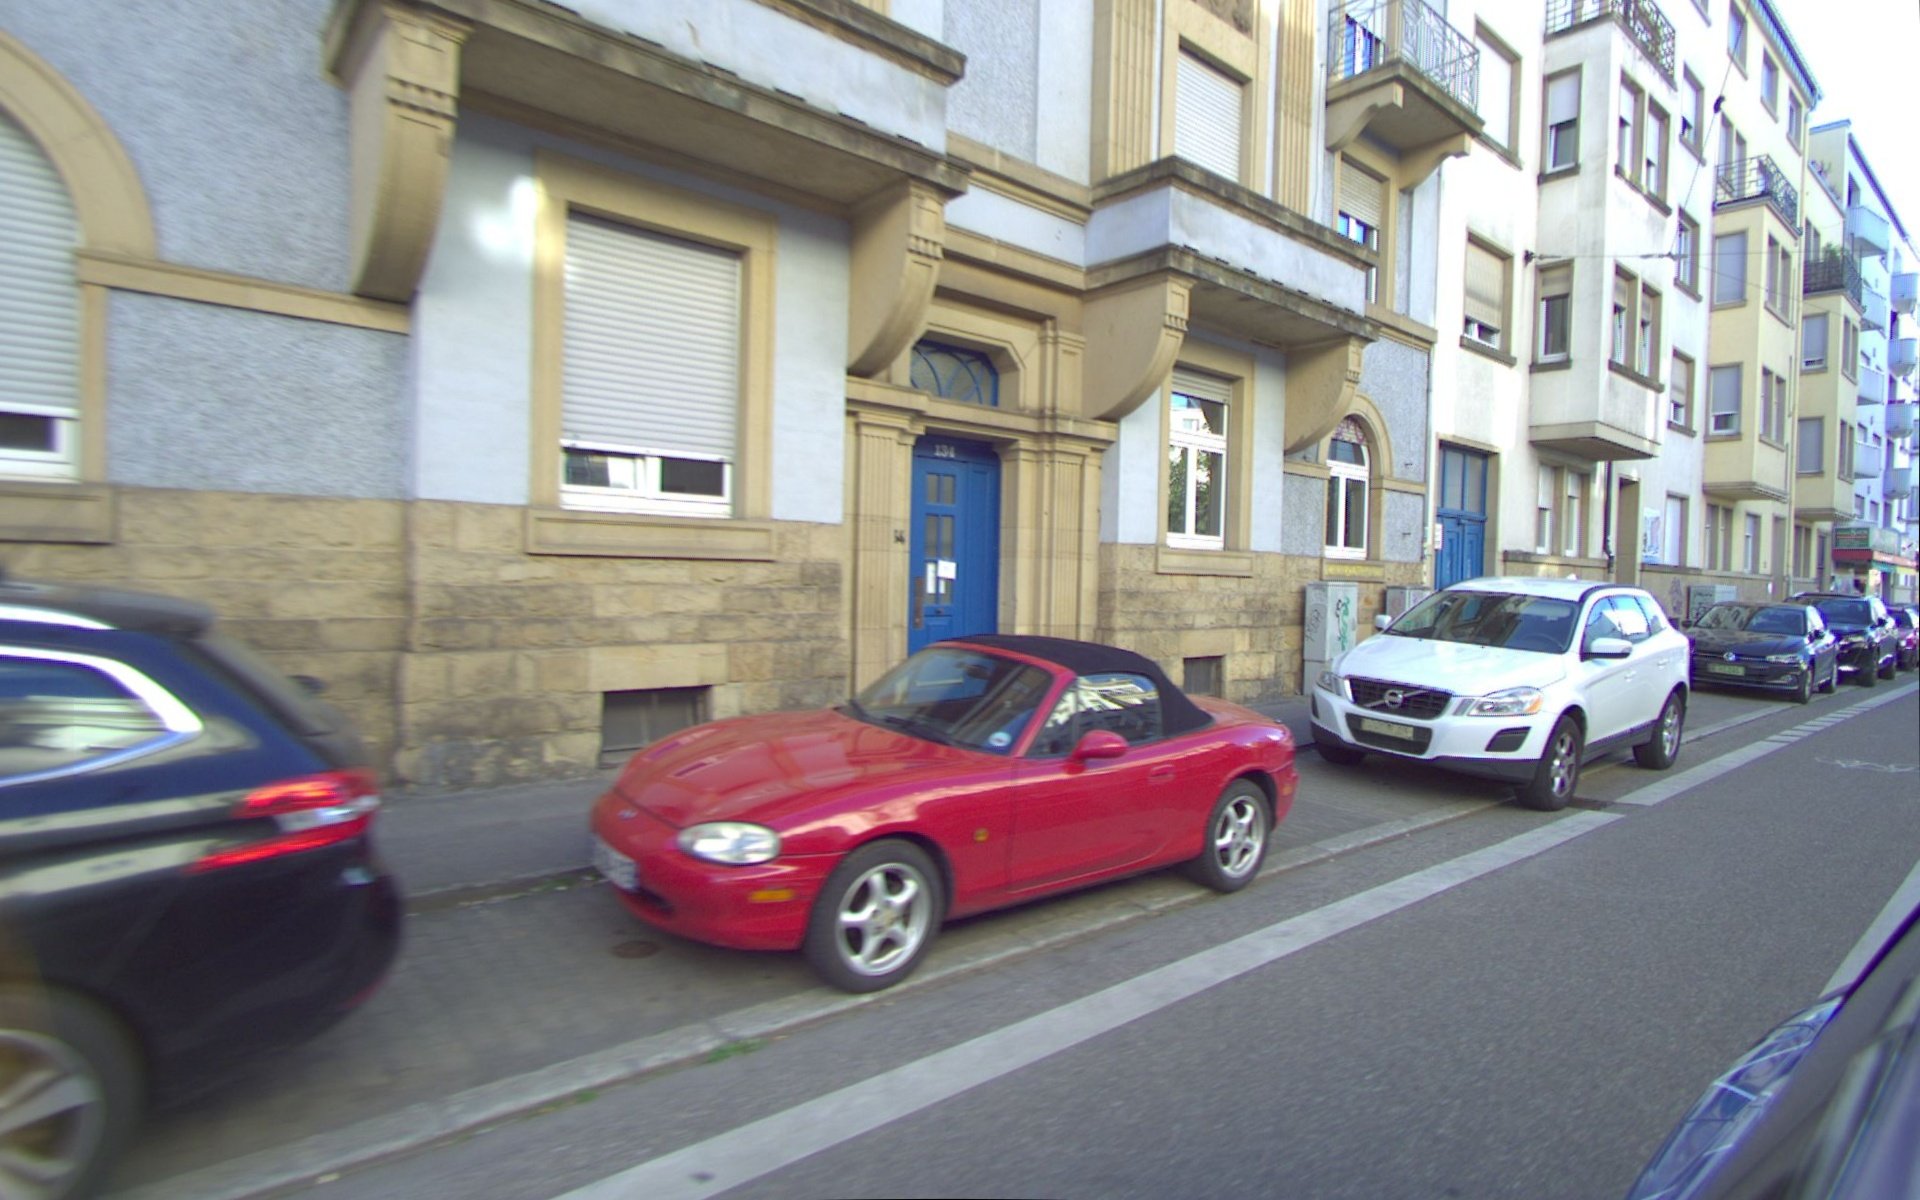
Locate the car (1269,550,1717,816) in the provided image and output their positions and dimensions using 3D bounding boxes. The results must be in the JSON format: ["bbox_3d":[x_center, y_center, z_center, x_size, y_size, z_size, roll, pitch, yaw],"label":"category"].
[{"bbox_3d":[4.746,0.505,8.719,4.425,1.711,1.847,0,2,-40],"label":"car"}]

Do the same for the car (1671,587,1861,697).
[{"bbox_3d":[12.823,0.576,16.023,3.964,1.459,1.740,0,3,-43],"label":"car"}]

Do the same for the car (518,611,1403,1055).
[{"bbox_3d":[0.305,0.750,5.168,4.422,1.264,1.659,0,2,-38],"label":"car"}]

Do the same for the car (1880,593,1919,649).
[{"bbox_3d":[28.196,0.615,29.327,3.931,1.509,1.722,0,4,-40],"label":"car"}]

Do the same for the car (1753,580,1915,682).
[{"bbox_3d":[16.980,0.509,19.581,4.485,1.686,1.862,0,3,-43],"label":"car"}]

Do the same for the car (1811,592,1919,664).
[{"bbox_3d":[21.872,0.590,23.888,4.625,1.473,1.864,0,2,-39],"label":"car"}]

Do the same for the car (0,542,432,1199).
[{"bbox_3d":[-3.592,0.602,1.849,4.396,1.501,1.657,0,3,-42],"label":"car"}]
